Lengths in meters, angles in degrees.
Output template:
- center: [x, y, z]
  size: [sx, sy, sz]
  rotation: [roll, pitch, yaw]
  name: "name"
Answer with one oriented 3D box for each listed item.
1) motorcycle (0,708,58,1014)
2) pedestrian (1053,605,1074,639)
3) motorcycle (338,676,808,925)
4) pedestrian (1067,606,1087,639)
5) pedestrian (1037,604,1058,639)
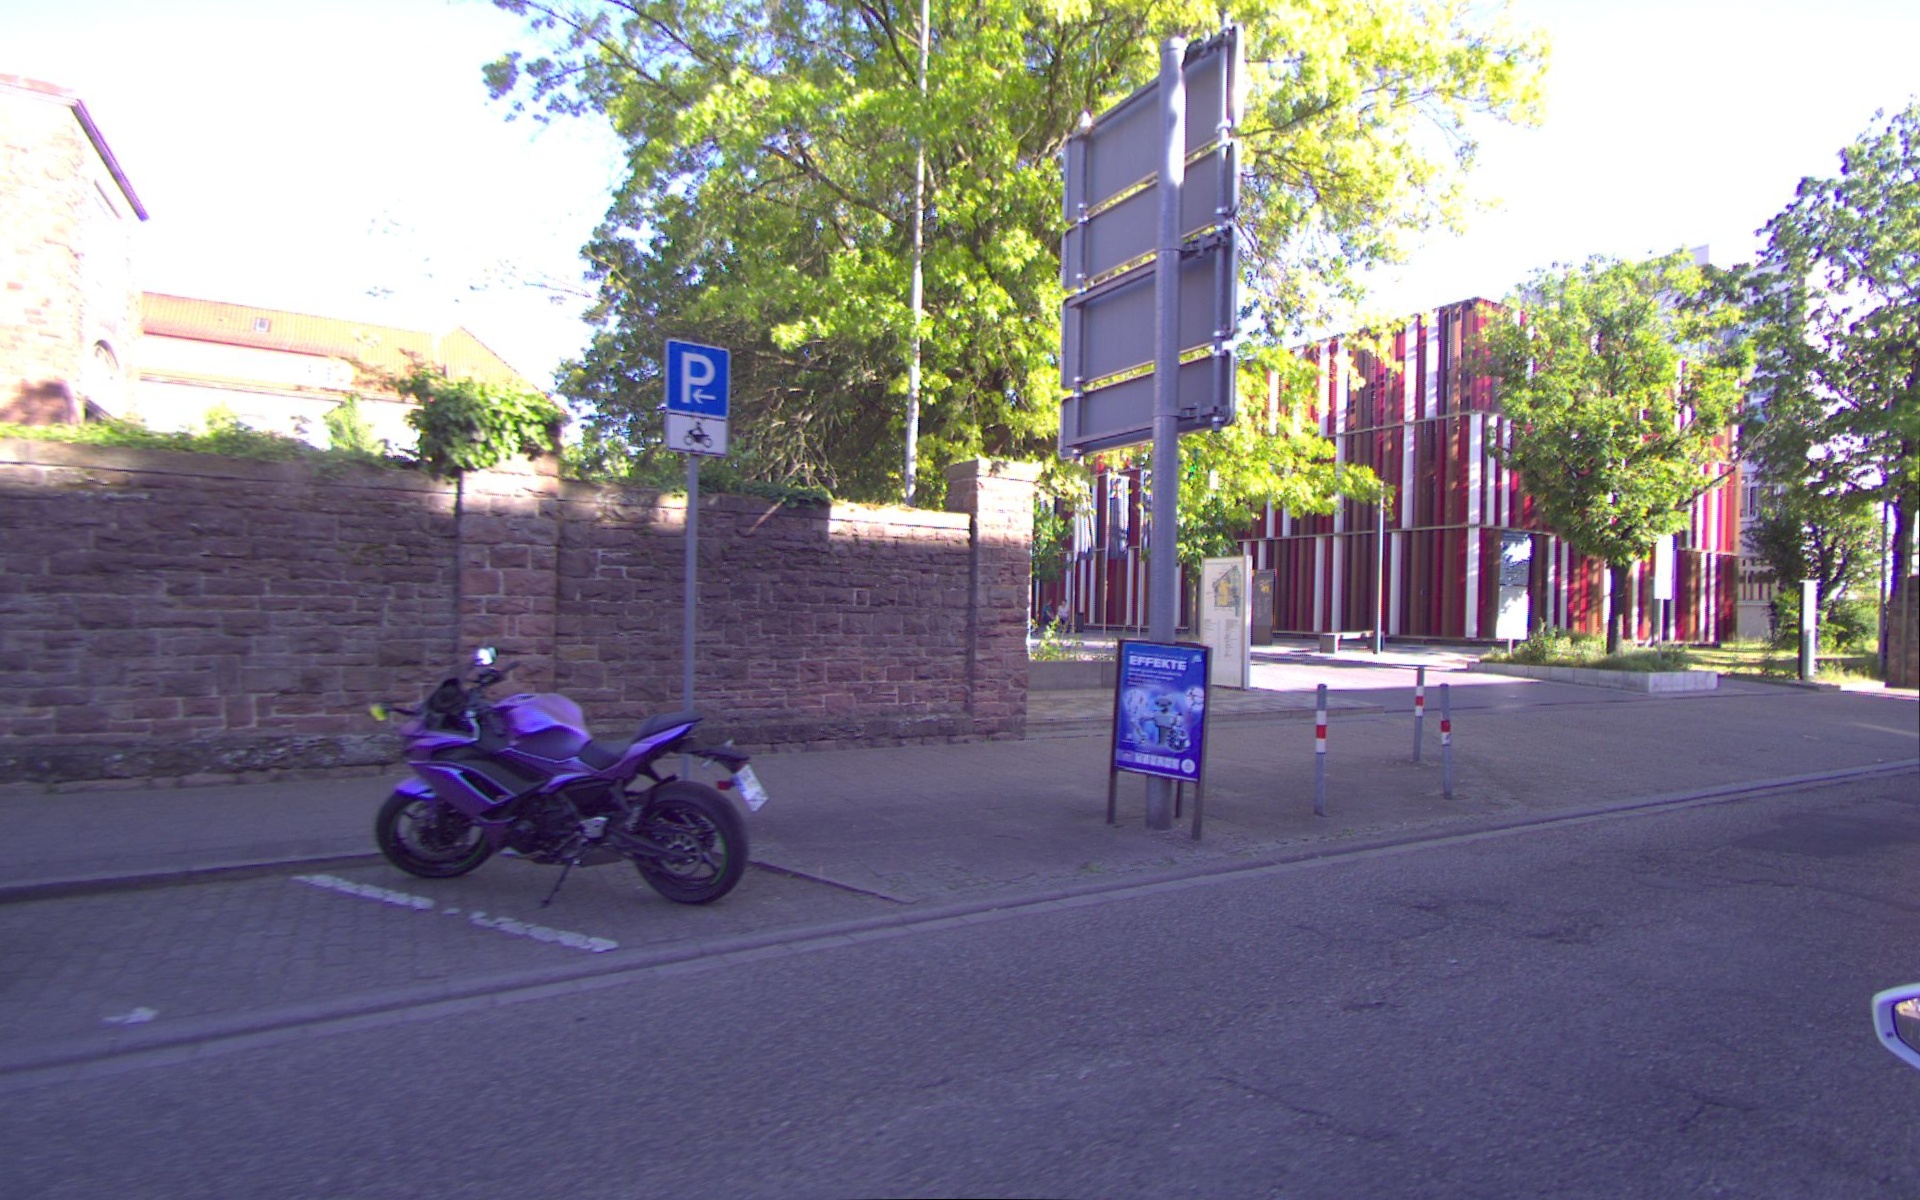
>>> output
- center: [-4.410, 0.908, 3.502]
  size: [2.049, 1.053, 0.532]
  rotation: [2, 1, 1]
  name: "motorcycle"
- center: [4.244, 0.895, 41.258]
  size: [0.605, 1.371, 0.565]
  rotation: [1, 1, -37]
  name: "pedestrian"
- center: [-1.853, 0.943, 4.954]
  size: [2.085, 1.046, 0.601]
  rotation: [1, 0, 4]
  name: "motorcycle"
- center: [4.868, 0.940, 41.816]
  size: [0.605, 1.371, 0.565]
  rotation: [1, 0, -37]
  name: "pedestrian"
- center: [3.562, 0.867, 40.826]
  size: [0.605, 1.398, 0.565]
  rotation: [1, 1, -37]
  name: "pedestrian"
